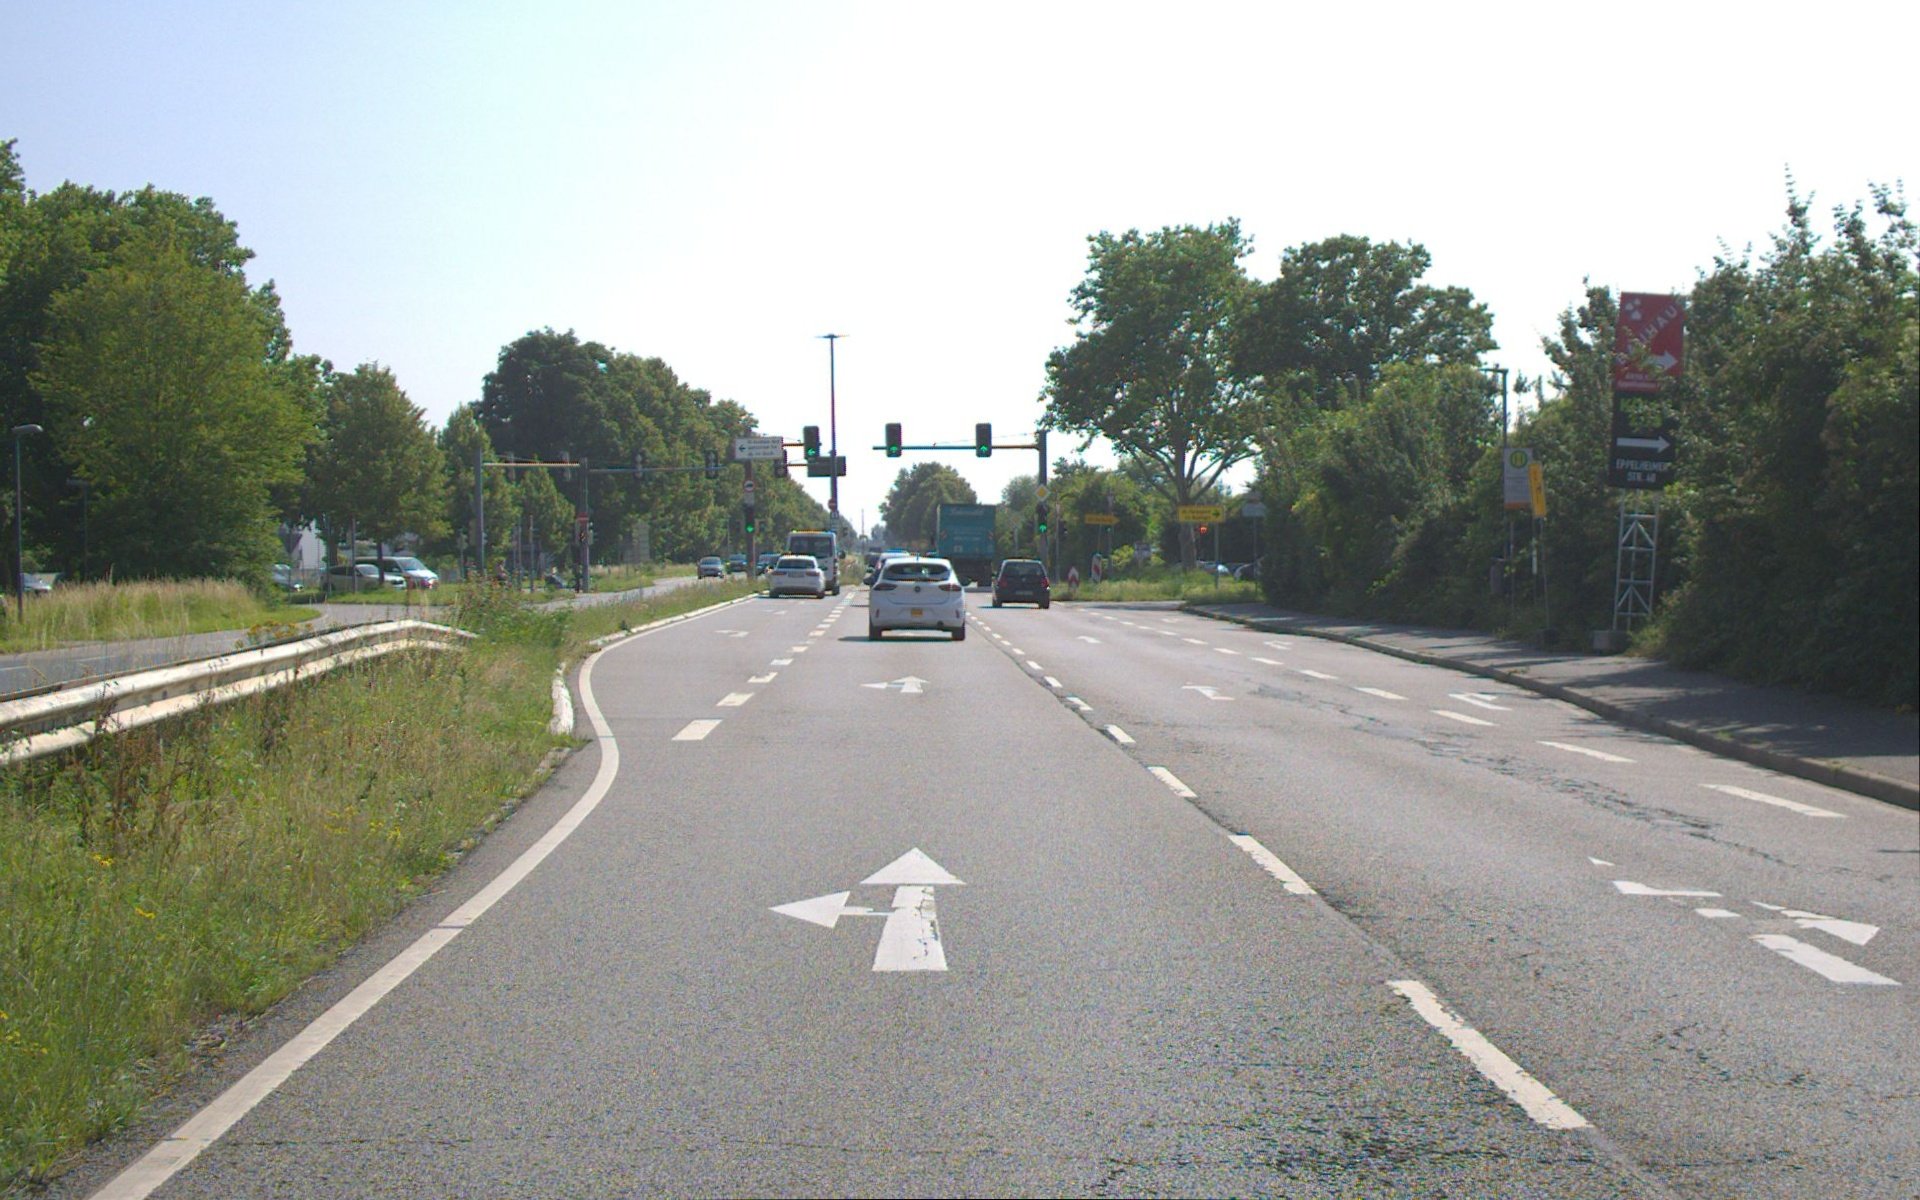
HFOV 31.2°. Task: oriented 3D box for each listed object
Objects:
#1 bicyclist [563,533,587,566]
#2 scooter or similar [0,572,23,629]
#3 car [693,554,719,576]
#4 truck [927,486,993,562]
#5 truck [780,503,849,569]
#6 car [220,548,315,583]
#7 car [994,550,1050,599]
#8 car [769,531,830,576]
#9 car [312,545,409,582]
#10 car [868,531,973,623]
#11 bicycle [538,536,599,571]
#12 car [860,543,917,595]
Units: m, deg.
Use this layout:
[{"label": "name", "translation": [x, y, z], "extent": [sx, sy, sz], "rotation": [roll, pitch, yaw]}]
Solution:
[{"label": "bicyclist", "translation": [-18.878, -2.494, 168.661], "extent": [0.863, 1.613, 0.757], "rotation": [1, 1, 27]}, {"label": "scooter or similar", "translation": [-20.118, 0.007, 72.422], "extent": [0.368, 1.182, 1.341], "rotation": [-2, 1, -1]}, {"label": "car", "translation": [-17.043, -2.345, 230.515], "extent": [1.485, 1.409, 3.762], "rotation": [-3, 1, -1]}, {"label": "truck", "translation": [-0.032, -3.539, 160.387], "extent": [2.891, 3.417, 9.170], "rotation": [-1, 1, -1]}, {"label": "truck", "translation": [-5.387, -2.415, 128.299], "extent": [2.373, 2.381, 6.041], "rotation": [1, 1, -1]}, {"label": "car", "translation": [-33.207, -1.650, 164.809], "extent": [4.262, 1.600, 2.001], "rotation": [-1, 1, 35]}, {"label": "car", "translation": [1.822, -0.753, 101.823], "extent": [1.572, 1.410, 3.277], "rotation": [0, 0, -1]}, {"label": "car", "translation": [-5.483, -1.598, 118.152], "extent": [1.812, 1.459, 4.971], "rotation": [1, 1, 0]}, {"label": "car", "translation": [-28.175, -1.715, 161.527], "extent": [4.262, 1.600, 2.001], "rotation": [-1, 1, 35]}, {"label": "car", "translation": [-0.686, -0.439, 61.327], "extent": [1.798, 1.547, 4.000], "rotation": [1, 1, 0]}, {"label": "bicycle", "translation": [-19.224, -2.301, 168.926], "extent": [2.796, 1.664, 1.134], "rotation": [-1, 1, 26]}, {"label": "car", "translation": [-2.052, -0.909, 99.053], "extent": [1.572, 1.409, 3.278], "rotation": [1, 1, -1]}]
